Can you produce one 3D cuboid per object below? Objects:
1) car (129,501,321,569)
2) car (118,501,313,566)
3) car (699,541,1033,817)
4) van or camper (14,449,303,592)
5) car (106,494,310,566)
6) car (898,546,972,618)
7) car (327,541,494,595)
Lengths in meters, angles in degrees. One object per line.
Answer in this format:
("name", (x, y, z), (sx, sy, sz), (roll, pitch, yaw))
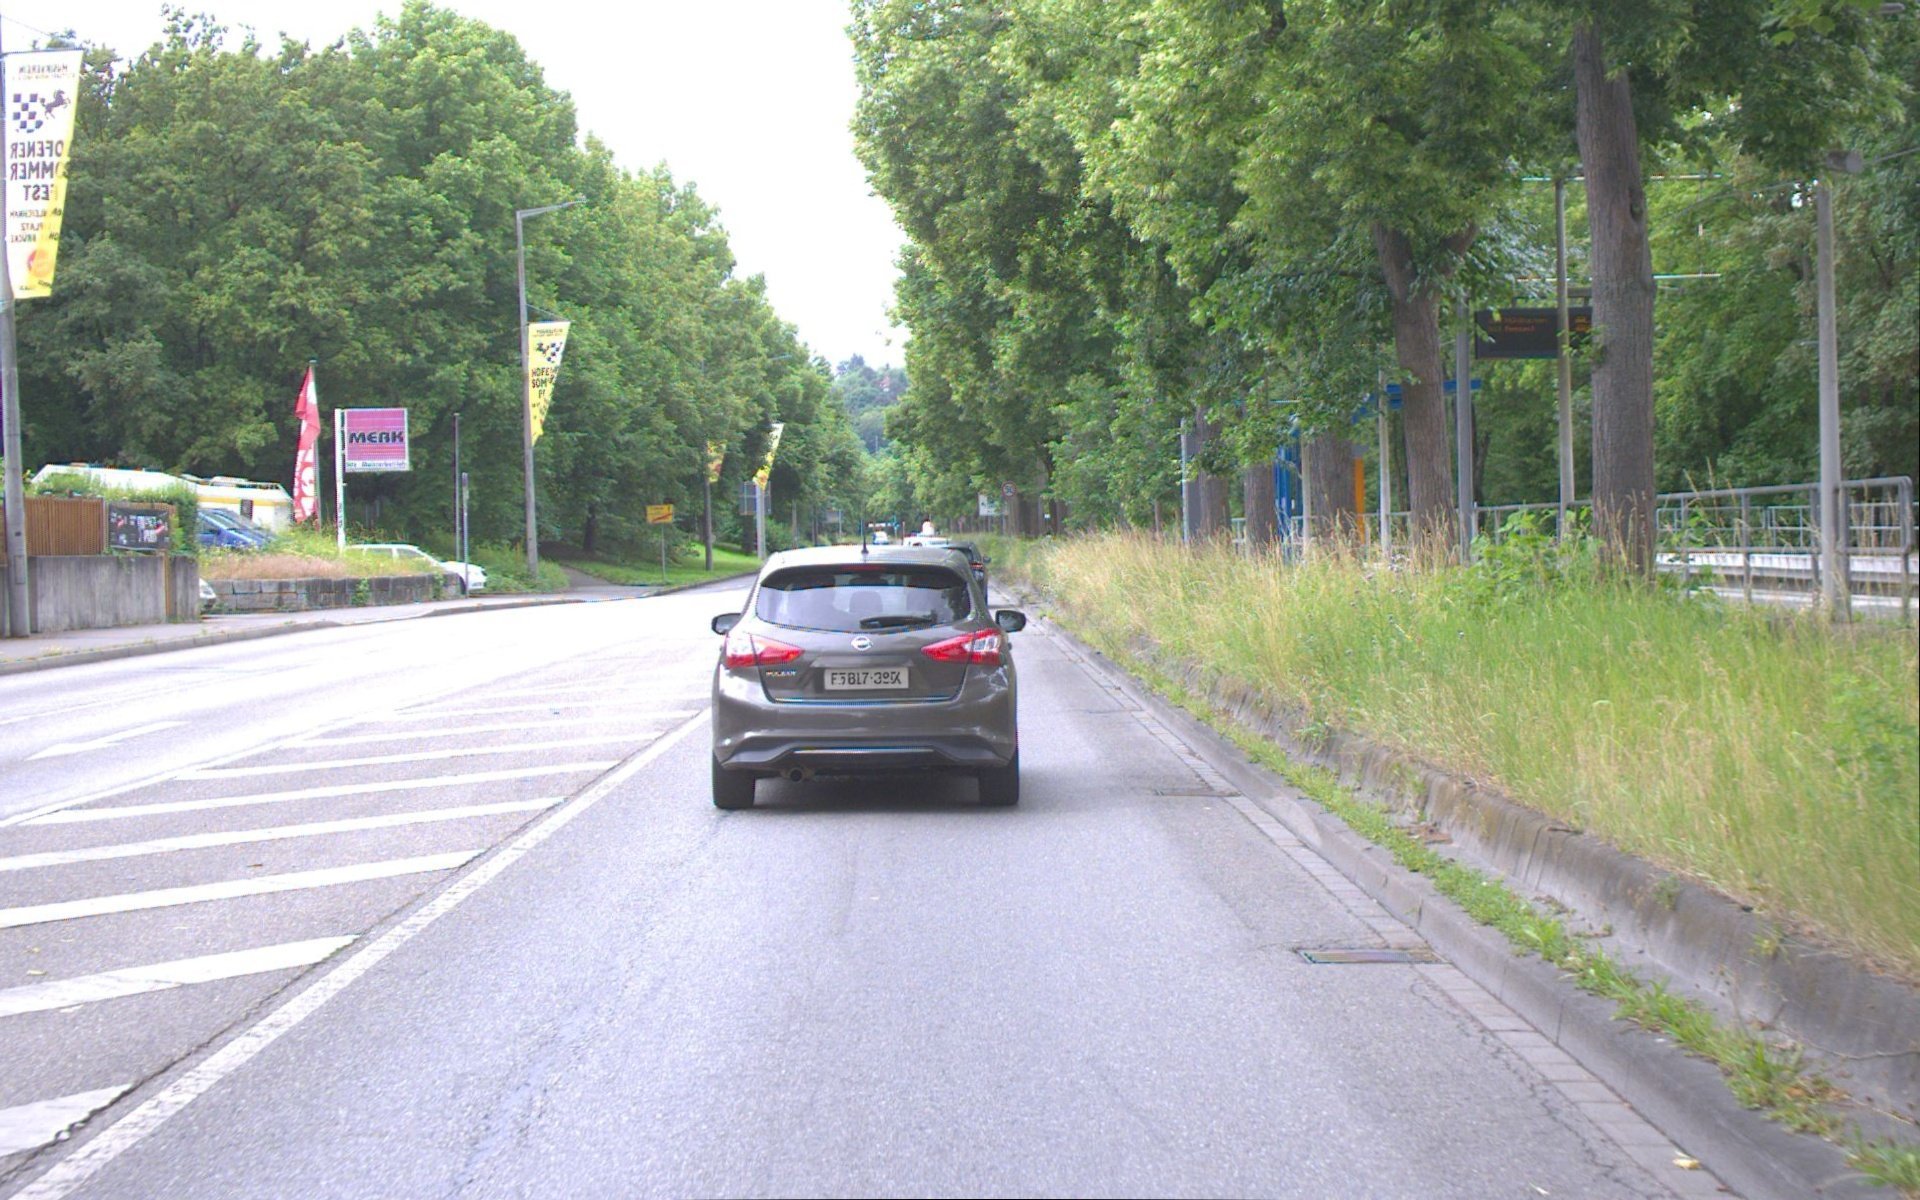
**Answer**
("car", (-16.873, -1.489, 79.014), (3.987, 1.487, 1.647), (1, 0, 5))
("car", (-16.667, -1.486, 77.055), (3.987, 1.406, 1.533), (1, 0, 5))
("car", (-0.479, 0.414, 21.024), (1.837, 1.523, 3.929), (0, 1, 1))
("van or camper", (-22.130, -2.197, 95.172), (7.141, 3.359, 2.796), (4, 1, 0))
("car", (-16.427, -1.524, 75.184), (3.987, 1.492, 1.859), (1, 0, 5))
("car", (-0.520, -0.406, 75.070), (1.503, 1.523, 3.671), (0, 1, 1))
("car", (-15.225, -0.895, 95.385), (4.374, 1.436, 1.961), (1, 1, -2))
